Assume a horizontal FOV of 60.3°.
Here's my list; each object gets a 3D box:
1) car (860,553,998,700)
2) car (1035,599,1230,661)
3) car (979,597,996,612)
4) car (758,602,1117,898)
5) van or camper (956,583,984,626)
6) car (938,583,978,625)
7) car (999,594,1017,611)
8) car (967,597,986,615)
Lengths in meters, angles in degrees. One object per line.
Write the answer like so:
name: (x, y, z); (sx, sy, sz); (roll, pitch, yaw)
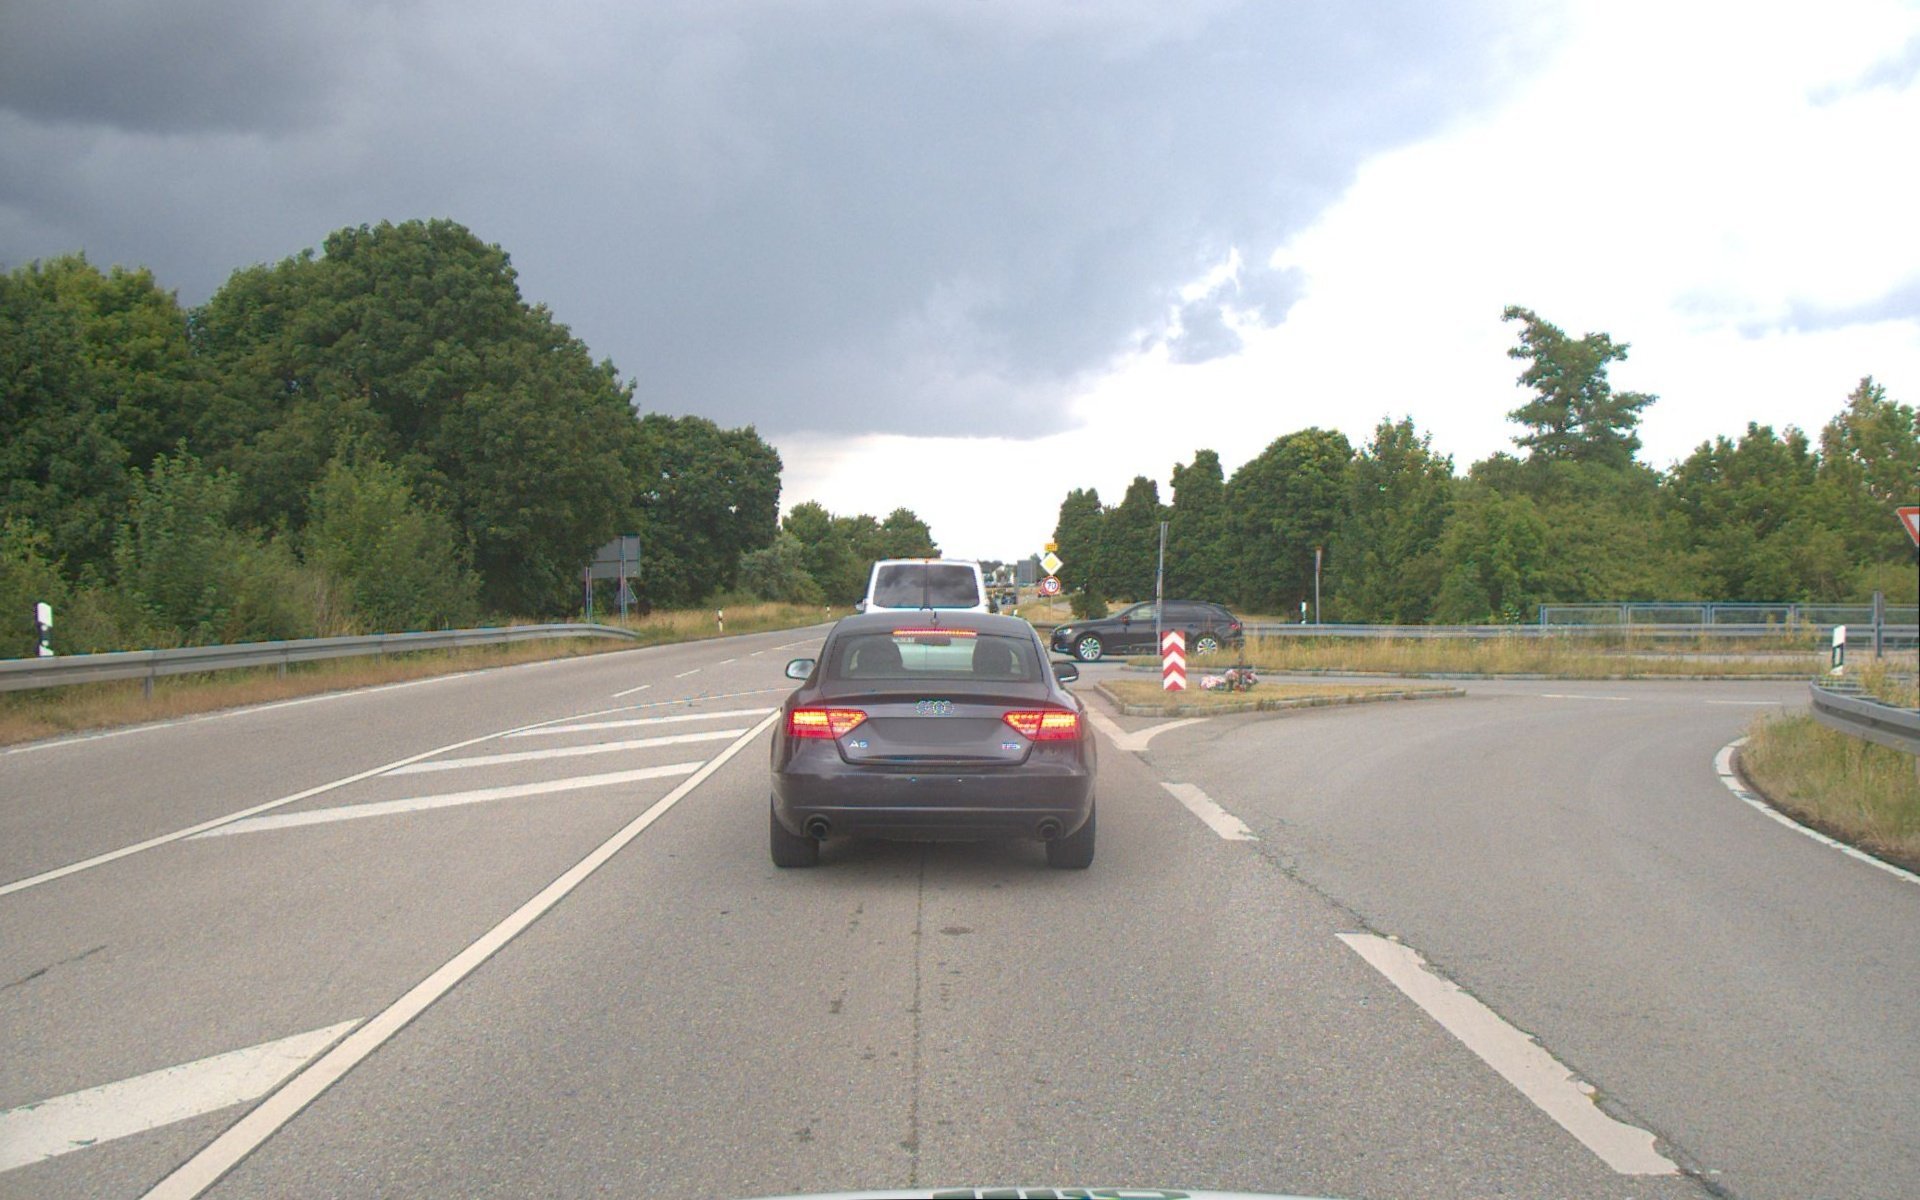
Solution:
car: (-0.440, 0.333, 23.853); (1.801, 1.915, 3.999); (1, 0, -1)
car: (4.046, 0.696, 39.327); (4.500, 1.398, 1.827); (0, 0, 2)
car: (2.858, 0.459, 173.179); (1.683, 1.477, 4.000); (1, 0, 0)
car: (-0.139, 0.742, 10.129); (1.746, 1.400, 3.999); (1, 0, -1)
van or camper: (0.895, 0.383, 142.118); (2.292, 3.542, 5.719); (0, 0, 1)
car: (-0.071, 0.225, 85.826); (1.952, 2.125, 4.001); (0, 0, 2)
car: (5.836, 0.260, 201.600); (1.953, 2.049, 3.999); (0, 0, -1)
car: (1.288, 0.474, 126.853); (1.231, 1.377, 3.468); (0, 0, 5)
